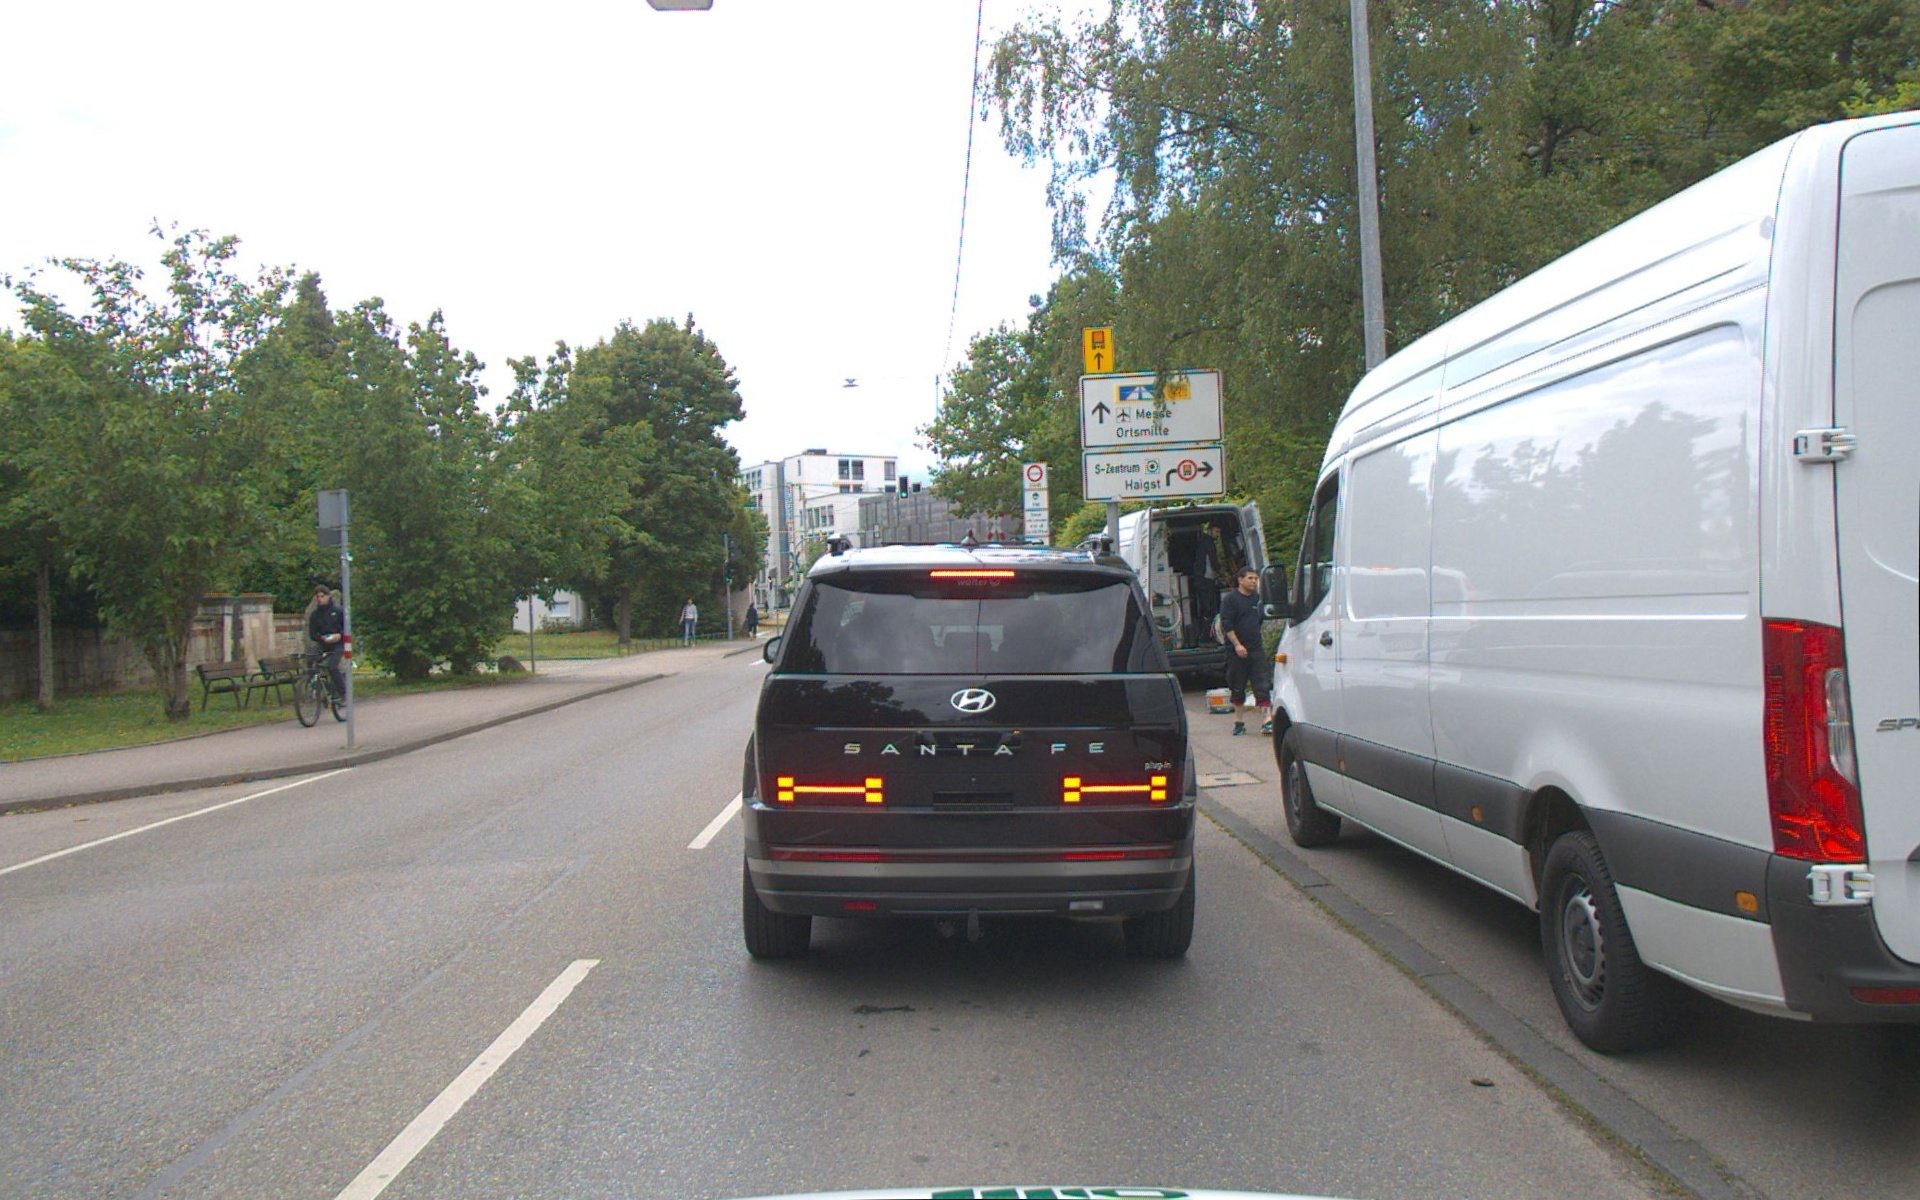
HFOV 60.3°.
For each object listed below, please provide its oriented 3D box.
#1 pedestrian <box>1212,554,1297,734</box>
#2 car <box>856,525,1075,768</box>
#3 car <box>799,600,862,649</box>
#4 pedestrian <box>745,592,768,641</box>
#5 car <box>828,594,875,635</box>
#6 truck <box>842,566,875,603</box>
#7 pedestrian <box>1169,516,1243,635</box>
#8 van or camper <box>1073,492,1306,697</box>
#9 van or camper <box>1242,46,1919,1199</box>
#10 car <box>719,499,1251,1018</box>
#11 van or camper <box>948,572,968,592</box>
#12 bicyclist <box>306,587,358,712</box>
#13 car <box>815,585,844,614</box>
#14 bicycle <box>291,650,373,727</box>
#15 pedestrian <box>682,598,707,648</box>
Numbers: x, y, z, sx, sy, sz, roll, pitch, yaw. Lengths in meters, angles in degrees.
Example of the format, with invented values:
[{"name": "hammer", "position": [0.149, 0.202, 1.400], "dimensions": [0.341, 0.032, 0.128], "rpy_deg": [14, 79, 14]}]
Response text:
[{"name": "pedestrian", "position": [2.933, 0.430, 16.539], "dimensions": [0.772, 1.751, 0.753], "rpy_deg": [1, -1, 7]}, {"name": "car", "position": [0.023, 0.413, 16.321], "dimensions": [1.858, 2.077, 3.993], "rpy_deg": [1, 0, -1]}, {"name": "car", "position": [-4.204, 0.787, 54.257], "dimensions": [1.721, 1.427, 4.413], "rpy_deg": [-4, 0, -1]}, {"name": "pedestrian", "position": [-8.752, 0.699, 71.076], "dimensions": [0.812, 2.049, 1.047], "rpy_deg": [1, -1, 1]}, {"name": "car", "position": [-4.453, 0.589, 68.495], "dimensions": [1.667, 1.509, 3.999], "rpy_deg": [-4, 0, -1]}, {"name": "truck", "position": [-11.538, -1.729, 186.901], "dimensions": [3.048, 3.926, 9.607], "rpy_deg": [-2, 0, -7]}, {"name": "pedestrian", "position": [3.559, -0.345, 23.972], "dimensions": [0.785, 1.672, 0.736], "rpy_deg": [-3, -1, -13]}, {"name": "van or camper", "position": [3.283, -0.025, 25.309], "dimensions": [2.294, 2.537, 6.600], "rpy_deg": [-5, -1, -2]}, {"name": "van or camper", "position": [2.873, 0.033, 7.028], "dimensions": [1.951, 2.670, 6.543], "rpy_deg": [-5, 0, -1]}, {"name": "car", "position": [0.066, 0.571, 7.856], "dimensions": [1.858, 1.807, 3.993], "rpy_deg": [1, 0, -1]}, {"name": "van or camper", "position": [-0.200, -1.893, 172.496], "dimensions": [1.760, 2.033, 3.820], "rpy_deg": [1, 0, -4]}, {"name": "bicyclist", "position": [-8.776, 0.689, 23.131], "dimensions": [0.477, 1.713, 0.588], "rpy_deg": [1, -1, -1]}, {"name": "car", "position": [-11.362, -0.028, 144.036], "dimensions": [2.288, 2.356, 4.950], "rpy_deg": [-2, 0, -7]}, {"name": "bicycle", "position": [-8.788, 1.224, 23.203], "dimensions": [0.485, 0.981, 1.748], "rpy_deg": [1, 0, -1]}, {"name": "pedestrian", "position": [-9.621, 0.822, 60.010], "dimensions": [0.751, 1.779, 0.904], "rpy_deg": [0, 0, -1]}]
